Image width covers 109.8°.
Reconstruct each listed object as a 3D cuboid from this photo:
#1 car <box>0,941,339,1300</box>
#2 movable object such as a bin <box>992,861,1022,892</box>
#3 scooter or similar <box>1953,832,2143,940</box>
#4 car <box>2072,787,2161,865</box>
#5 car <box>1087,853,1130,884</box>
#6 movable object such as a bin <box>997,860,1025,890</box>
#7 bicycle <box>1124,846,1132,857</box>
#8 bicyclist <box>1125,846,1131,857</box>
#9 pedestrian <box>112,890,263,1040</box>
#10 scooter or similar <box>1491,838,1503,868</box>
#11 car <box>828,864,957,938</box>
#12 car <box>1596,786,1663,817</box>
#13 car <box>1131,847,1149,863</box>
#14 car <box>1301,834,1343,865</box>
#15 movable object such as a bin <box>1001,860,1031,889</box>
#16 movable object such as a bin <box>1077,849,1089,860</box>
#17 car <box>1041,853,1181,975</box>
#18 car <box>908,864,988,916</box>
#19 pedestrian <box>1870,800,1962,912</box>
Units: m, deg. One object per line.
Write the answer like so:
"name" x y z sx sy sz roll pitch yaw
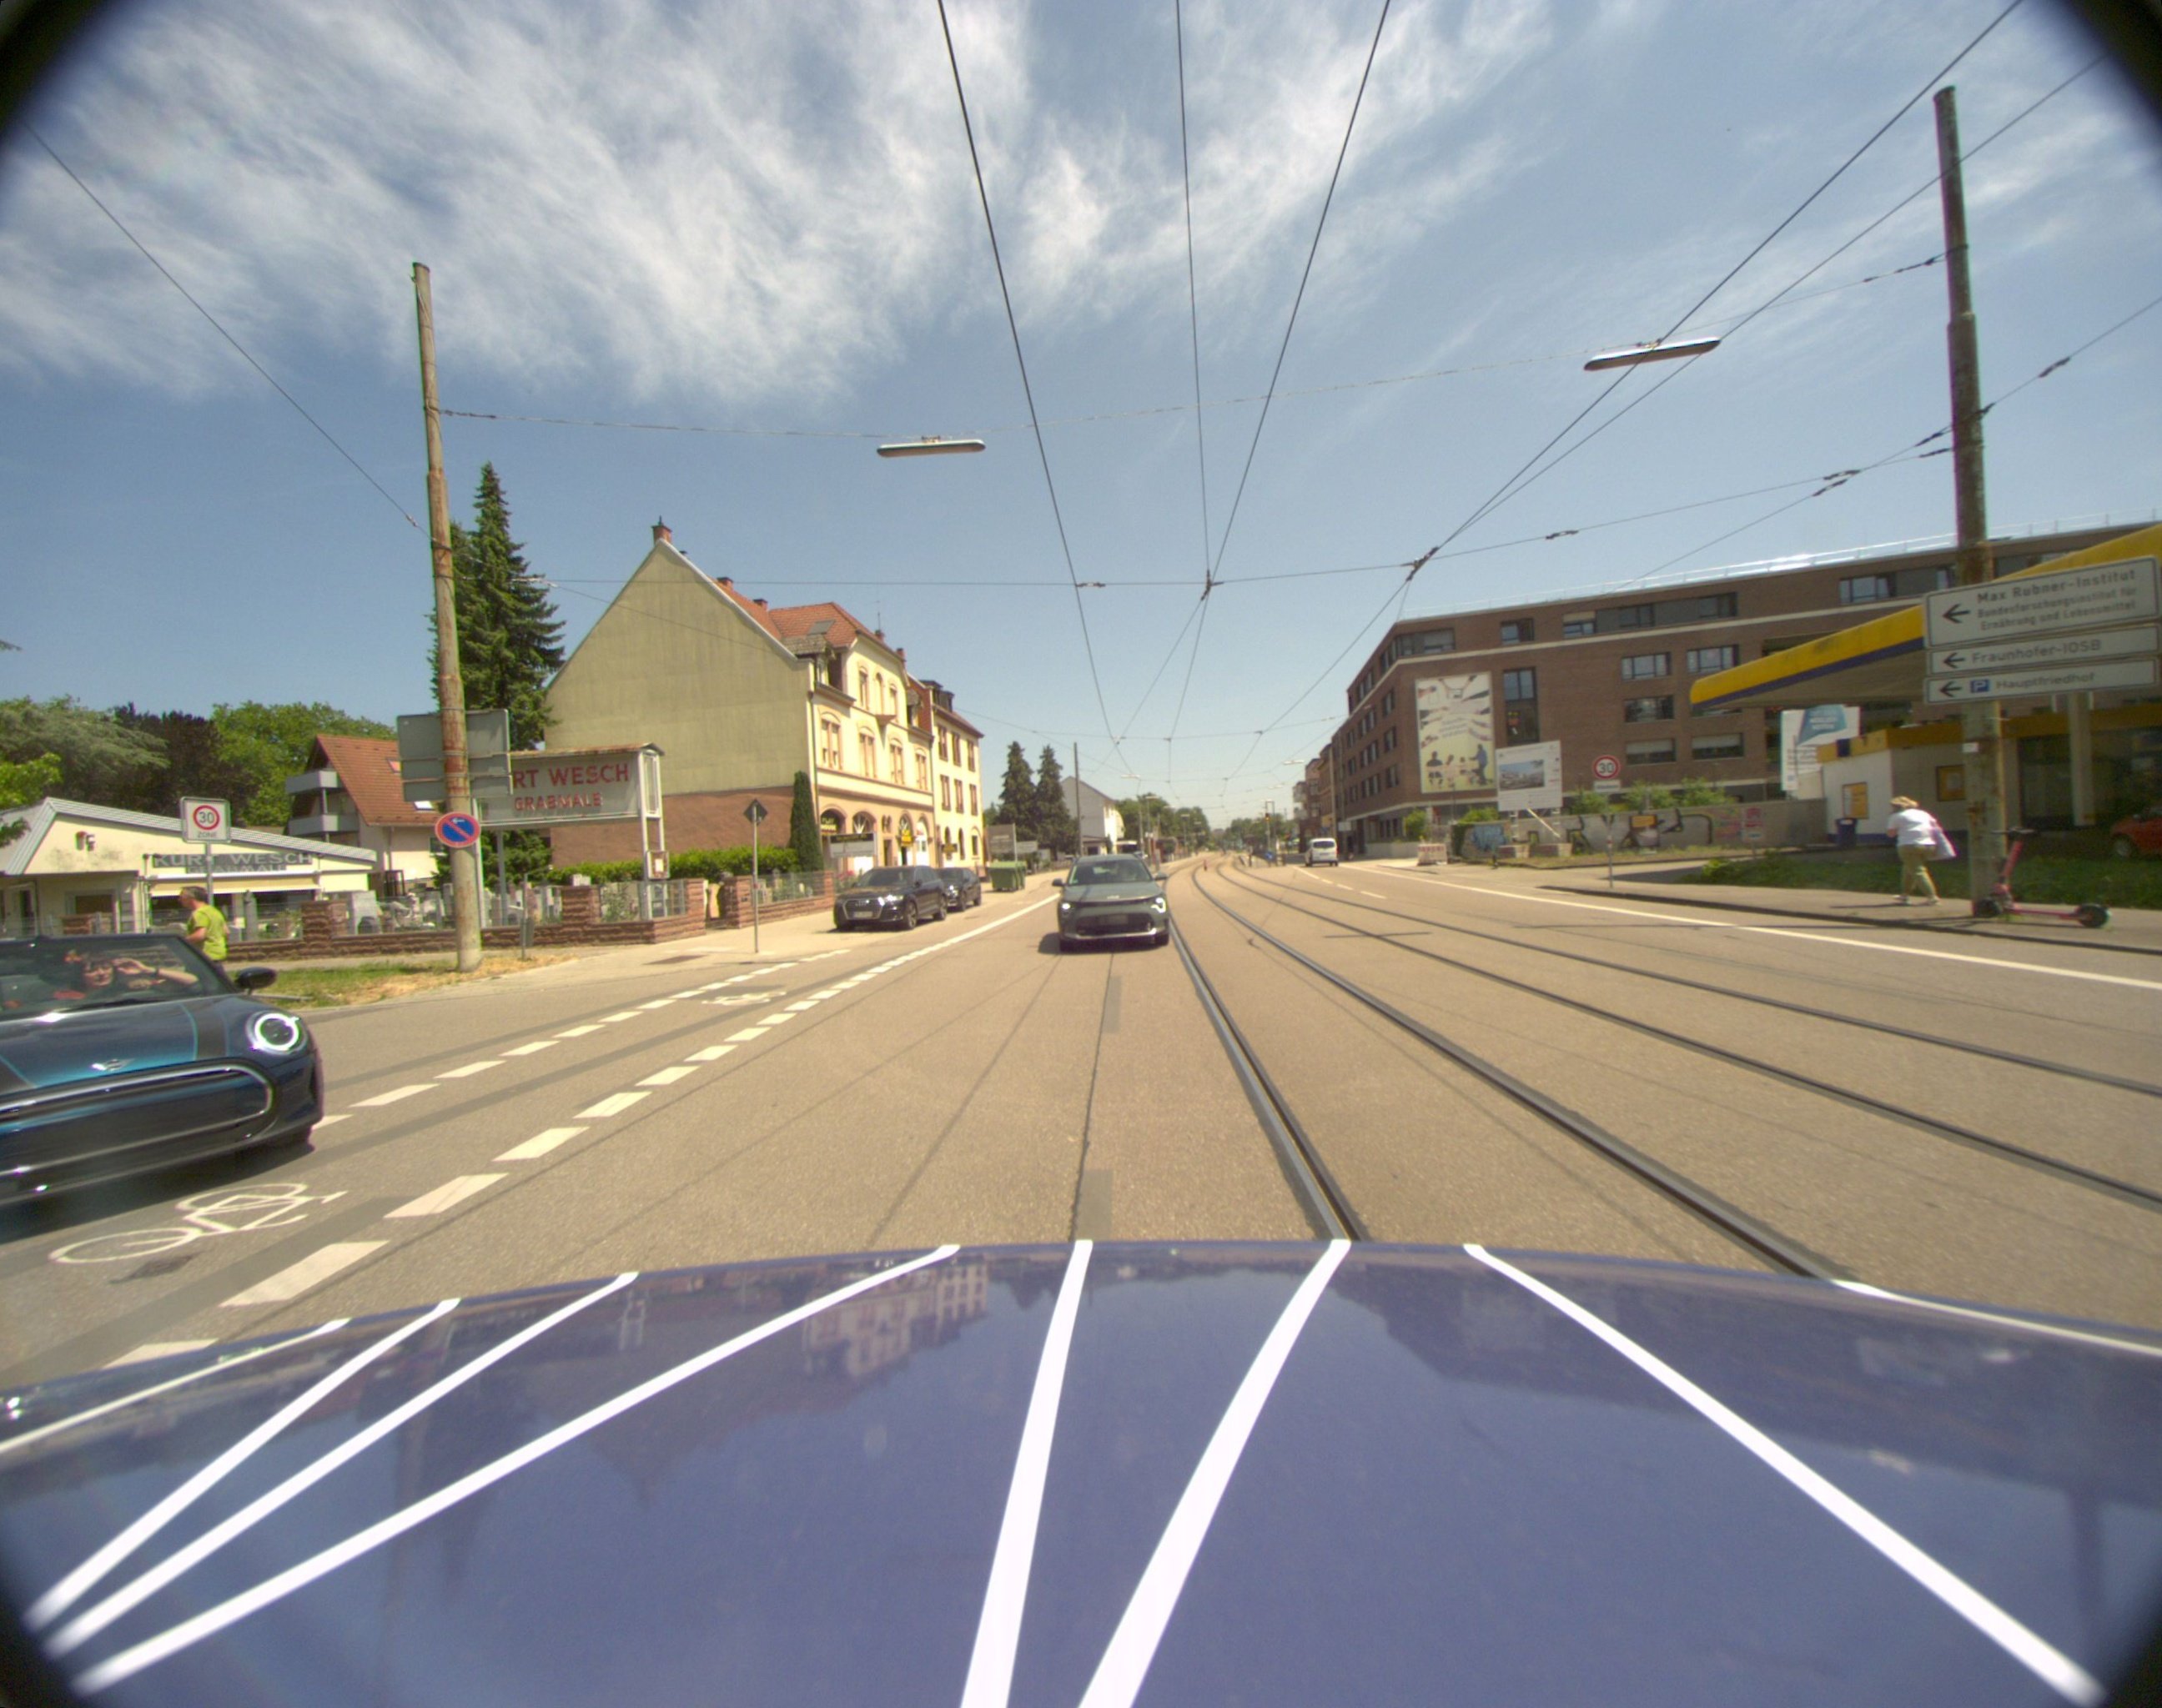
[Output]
"car" -6.302 1.325 4.431 3.917 1.364 1.706 -3 1 29
"movable object such as a bin" -3.596 1.088 36.933 1.327 1.446 1.058 -1 1 1
"scooter or similar" 11.762 0.365 9.309 0.520 1.193 1.376 -5 0 1
"car" 21.575 -0.610 14.301 1.827 1.495 4.206 -5 -2 27
"car" 1.660 0.807 44.139 1.747 1.546 4.490 -5 0 10
"movable object such as a bin" -3.493 1.042 37.989 1.250 1.446 1.058 -1 1 1
"bicycle" 7.998 -0.394 129.298 0.799 1.889 1.961 -1 1 19
"bicyclist" 7.955 -0.358 129.185 0.790 1.864 0.888 -1 1 19
"pedestrian" -10.787 1.302 9.216 0.840 1.657 0.733 -4 0 -17
"scooter or similar" 17.995 -0.060 32.877 0.345 1.257 1.244 -5 0 29
"car" -5.097 1.213 21.421 1.928 1.683 5.083 -2 0 5
"car" 31.197 -2.936 43.332 1.734 1.460 4.004 -4 0 16
"car" 6.615 0.106 84.907 1.748 1.546 4.489 -5 0 6
"car" 15.820 -0.336 50.083 1.997 1.789 4.555 -5 1 12
"movable object such as a bin" -3.323 1.031 39.098 1.395 1.446 1.139 -1 1 1
"movable object such as a bin" 0.323 0.127 107.641 1.389 1.472 1.152 -3 0 12
"car" 0.505 0.829 12.722 1.827 1.546 4.487 -4 0 2
"car" -4.695 1.234 27.538 1.776 1.539 4.468 -2 1 4
"pedestrian" 13.184 0.026 12.022 0.626 1.681 0.723 -3 1 12
